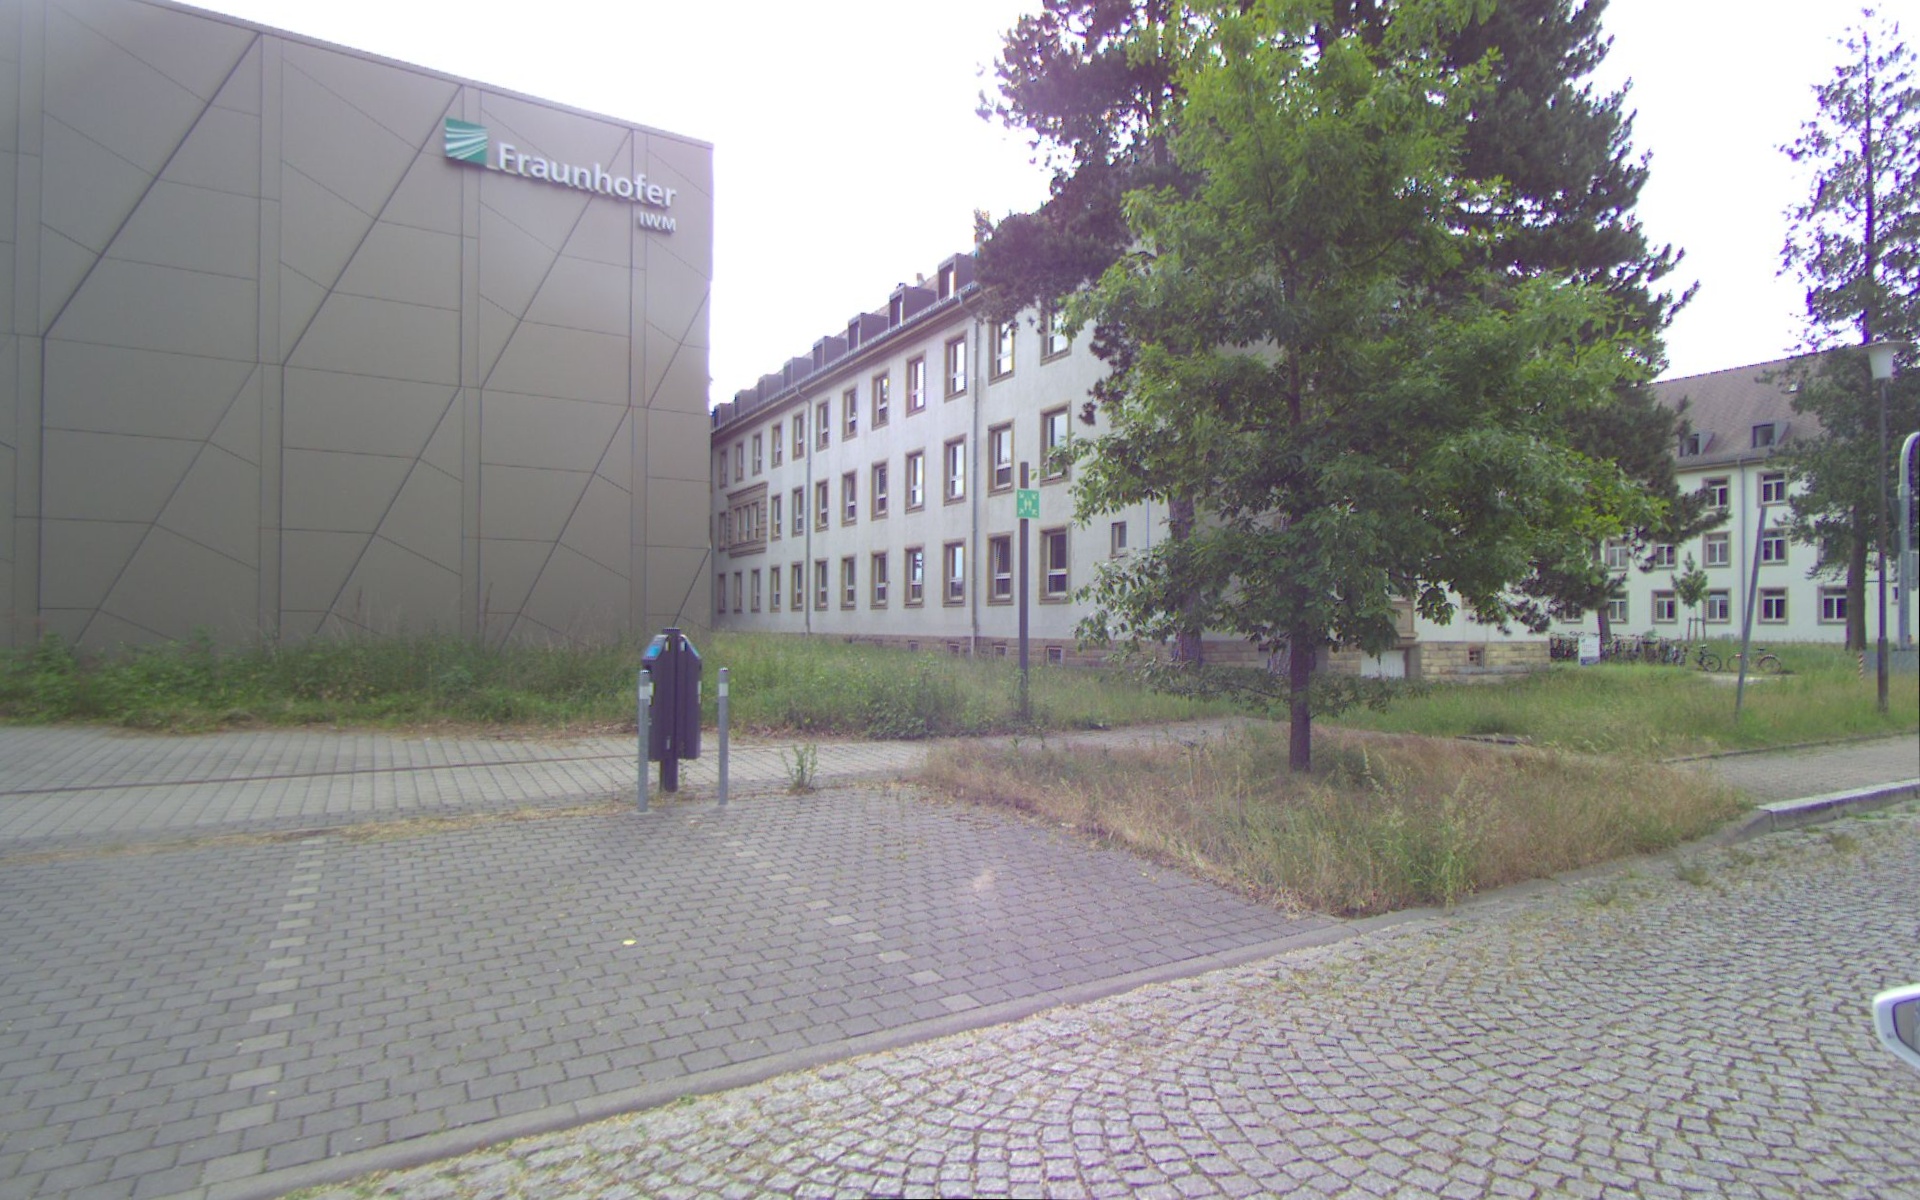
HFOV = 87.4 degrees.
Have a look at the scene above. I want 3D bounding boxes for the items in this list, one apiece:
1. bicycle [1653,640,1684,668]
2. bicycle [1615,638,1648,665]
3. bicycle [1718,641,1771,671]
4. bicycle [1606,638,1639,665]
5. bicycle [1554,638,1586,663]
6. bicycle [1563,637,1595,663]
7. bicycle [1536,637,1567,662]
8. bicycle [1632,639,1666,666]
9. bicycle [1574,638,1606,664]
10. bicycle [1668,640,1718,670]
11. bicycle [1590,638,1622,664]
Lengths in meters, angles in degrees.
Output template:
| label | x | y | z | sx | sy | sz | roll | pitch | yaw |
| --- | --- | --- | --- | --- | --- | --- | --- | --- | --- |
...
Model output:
| label | x | y | z | sx | sy | sz | roll | pitch | yaw |
| --- | --- | --- | --- | --- | --- | --- | --- | --- | --- |
| bicycle | 28.604 | 2.160 | 40.551 | 1.569 | 1.093 | 0.511 | 2 | -2 | -34 |
| bicycle | 27.913 | 2.148 | 41.744 | 1.567 | 1.093 | 0.512 | 1 | -2 | -31 |
| bicycle | 29.119 | 2.051 | 37.288 | 0.510 | 1.079 | 1.456 | 1 | -2 | -32 |
| bicycle | 27.735 | 2.145 | 42.058 | 1.567 | 1.093 | 0.512 | 1 | -2 | -31 |
| bicycle | 26.613 | 2.190 | 43.816 | 1.567 | 1.093 | 0.512 | 1 | -2 | -31 |
| bicycle | 26.813 | 2.164 | 43.488 | 1.567 | 1.093 | 0.512 | 1 | -2 | -31 |
| bicycle | 26.212 | 2.200 | 44.502 | 1.567 | 1.093 | 0.512 | 1 | -2 | -31 |
| bicycle | 28.189 | 2.152 | 41.089 | 1.566 | 1.093 | 0.512 | 1 | -2 | -28 |
| bicycle | 27.047 | 2.165 | 43.102 | 1.567 | 1.093 | 0.512 | 1 | -2 | -31 |
| bicycle | 28.155 | 2.108 | 38.610 | 0.510 | 1.093 | 1.456 | 1 | -2 | -32 |
| bicycle | 27.378 | 2.149 | 42.577 | 1.567 | 1.093 | 0.512 | 1 | -2 | -31 |
